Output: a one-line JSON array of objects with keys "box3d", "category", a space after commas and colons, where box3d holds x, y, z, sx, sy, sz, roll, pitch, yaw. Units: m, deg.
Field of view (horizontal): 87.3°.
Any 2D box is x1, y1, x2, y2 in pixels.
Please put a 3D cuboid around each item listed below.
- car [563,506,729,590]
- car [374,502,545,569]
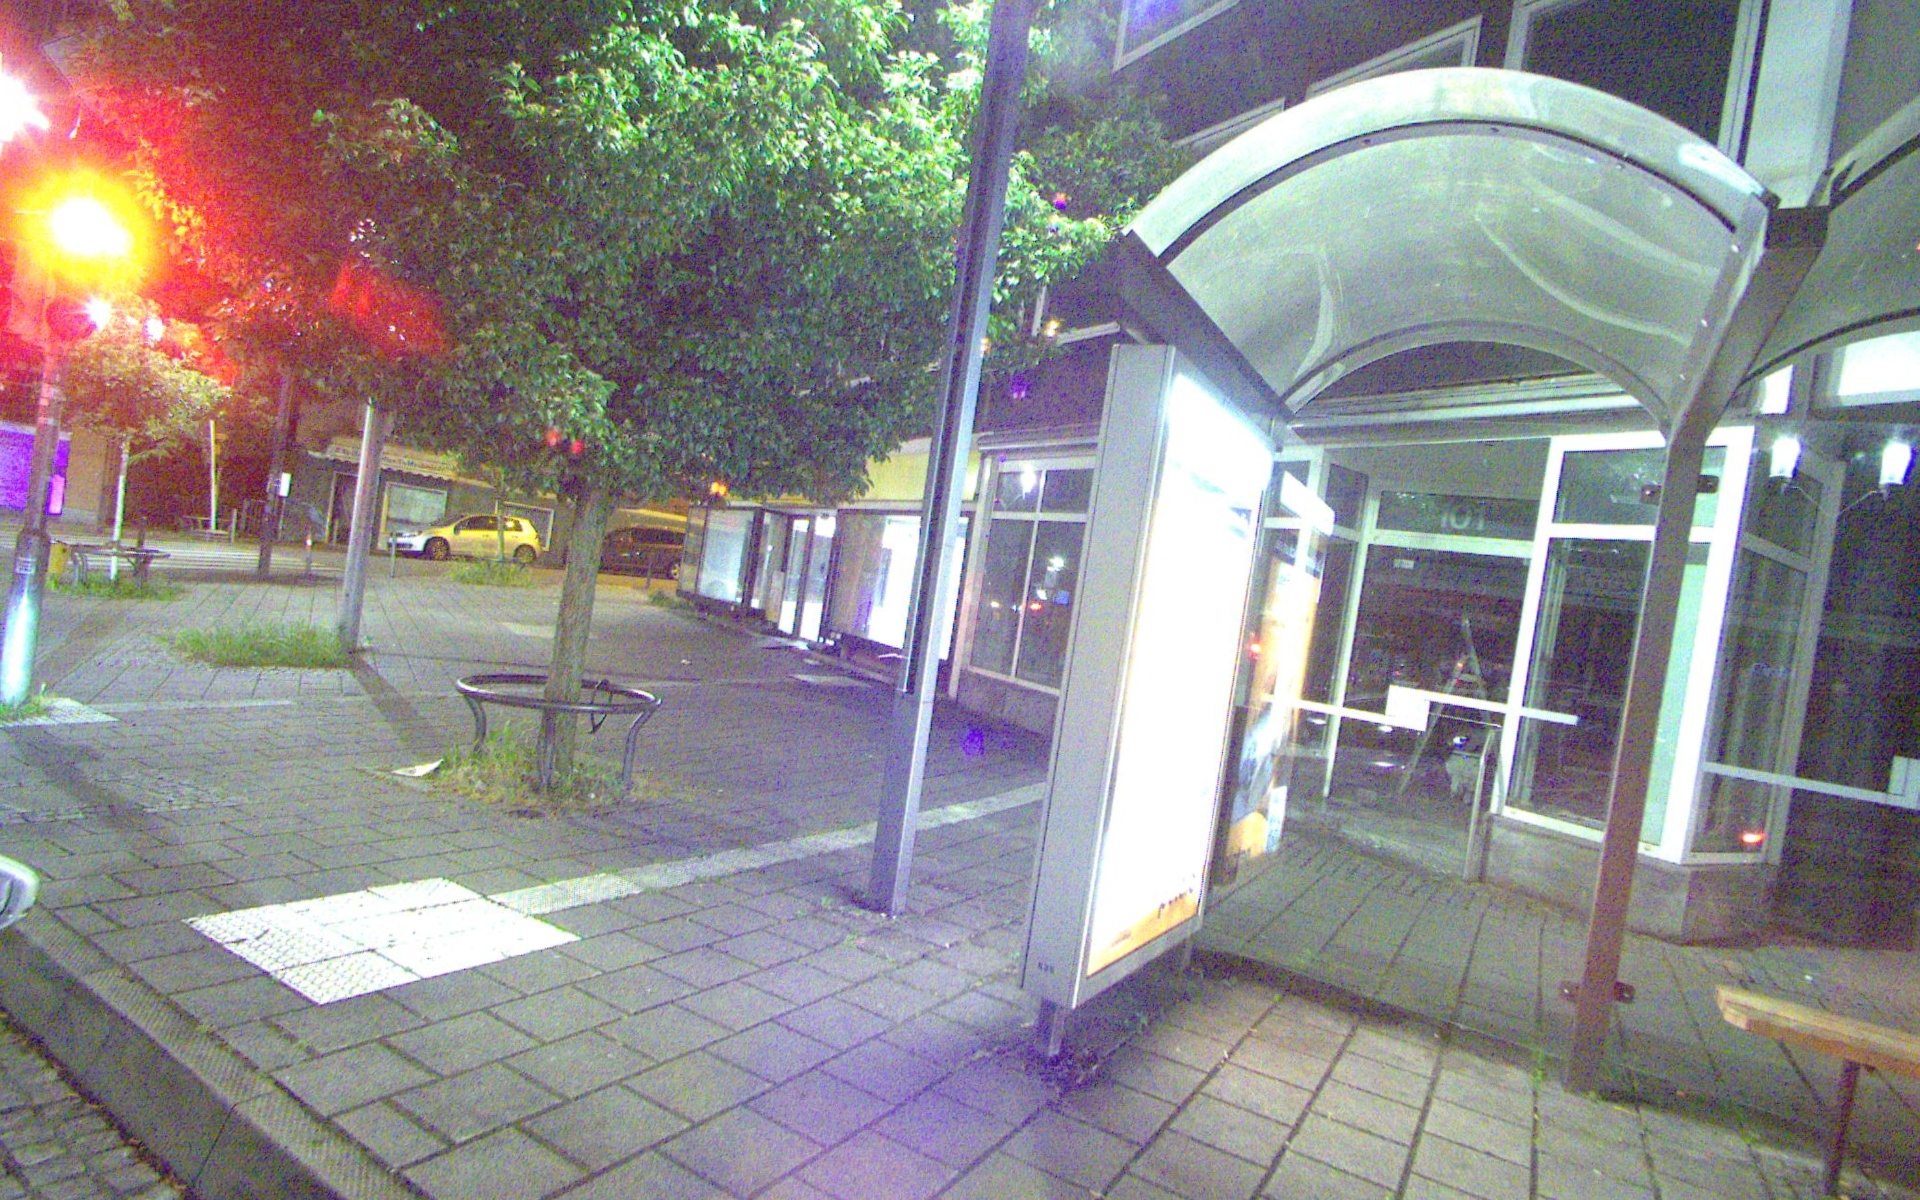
[{"box3d": [-10.144, -1.607, 32.464, 4.783, 1.932, 2.148, 8, -2, -23], "category": "car"}, {"box3d": [-14.491, -1.841, 29.295, 1.798, 1.472, 4.036, 8, 2, 38], "category": "car"}]
